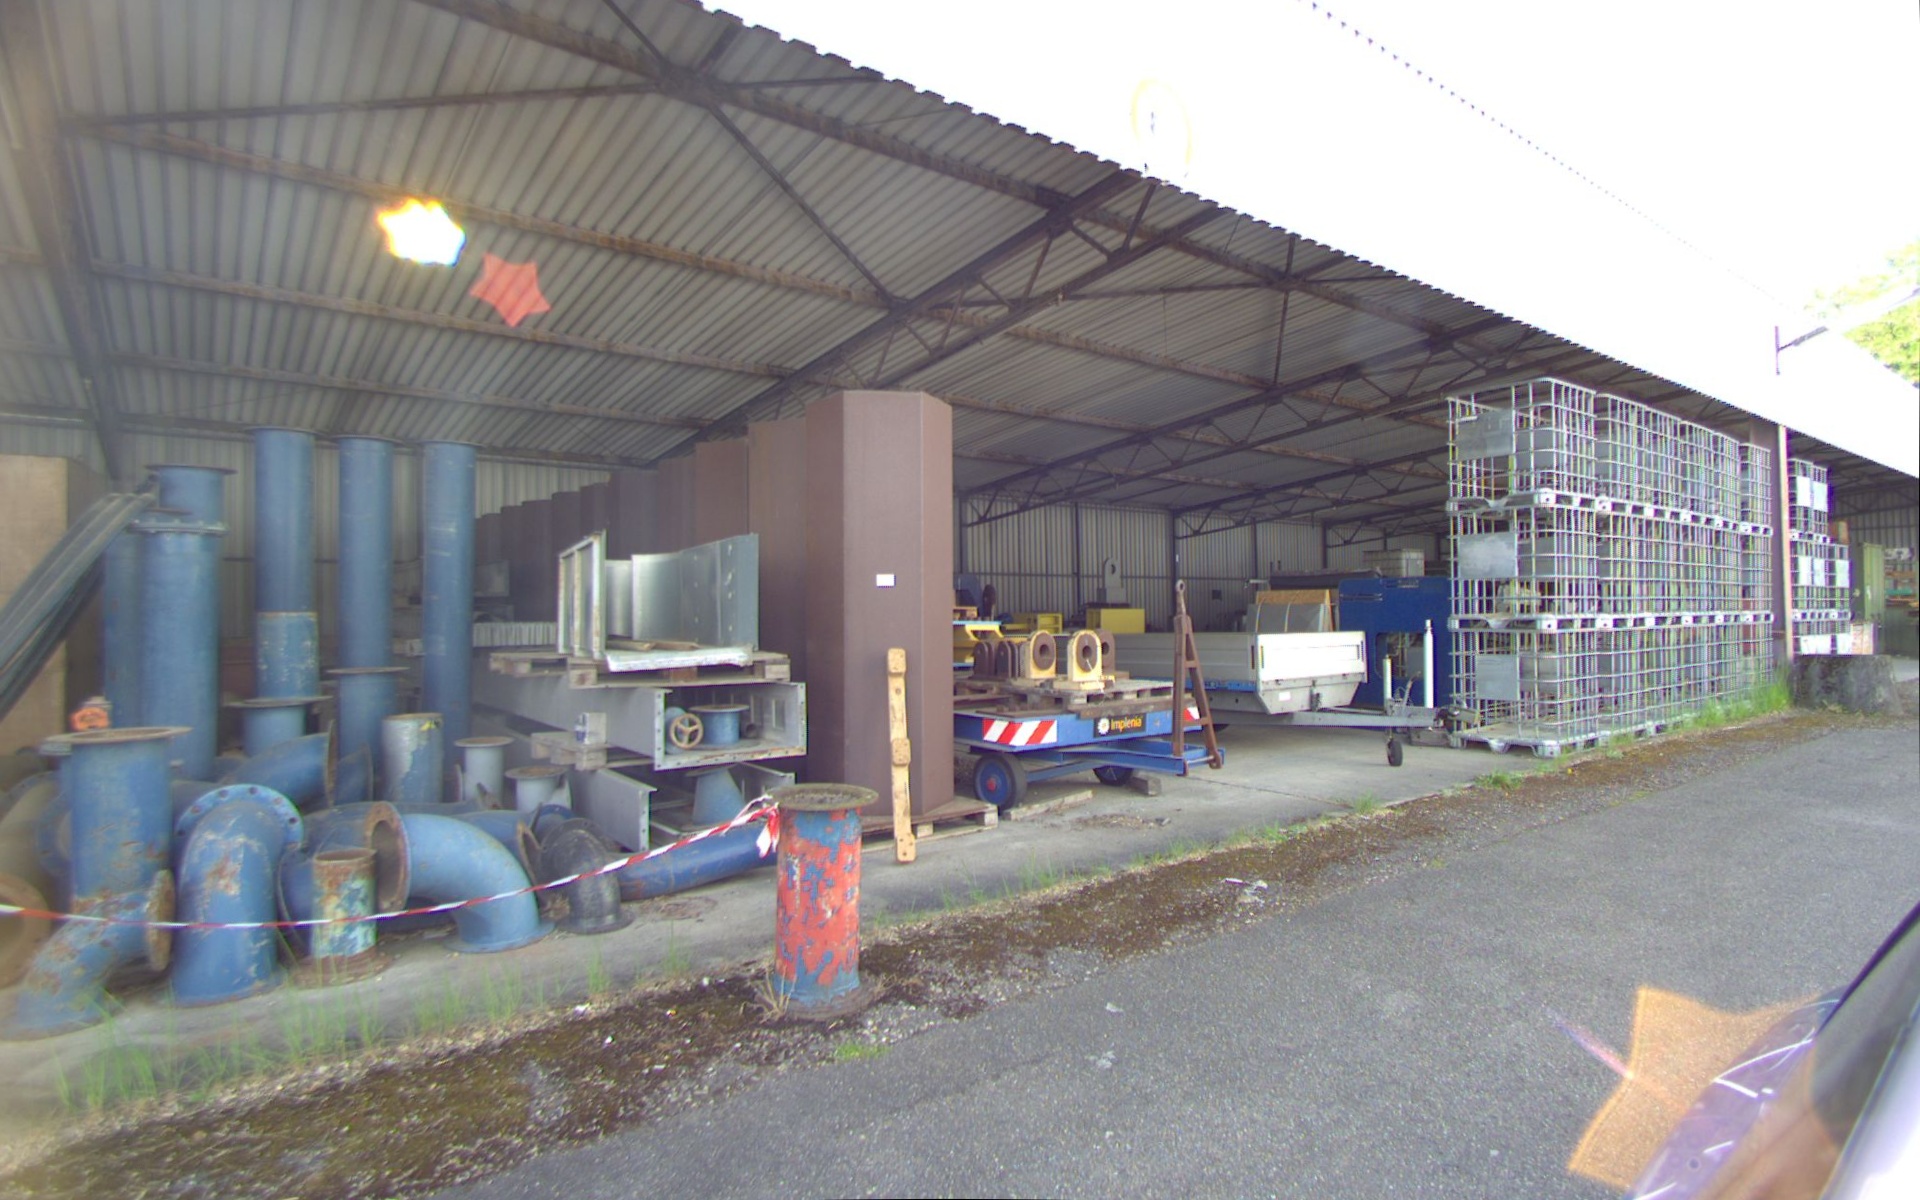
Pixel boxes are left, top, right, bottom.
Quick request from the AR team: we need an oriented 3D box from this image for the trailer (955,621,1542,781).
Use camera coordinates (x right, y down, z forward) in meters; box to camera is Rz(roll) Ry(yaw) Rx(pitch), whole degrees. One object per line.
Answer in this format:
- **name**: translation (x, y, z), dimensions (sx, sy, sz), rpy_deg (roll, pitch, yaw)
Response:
- **trailer**: translation (2.516, 0.820, 10.537), dimensions (1.992, 1.134, 5.835), rpy_deg (0, -1, -38)

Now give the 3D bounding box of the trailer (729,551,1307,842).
- **trailer**: translation (0.105, 0.559, 8.282), dimensions (1.992, 1.649, 4.878), rpy_deg (0, 0, -38)
